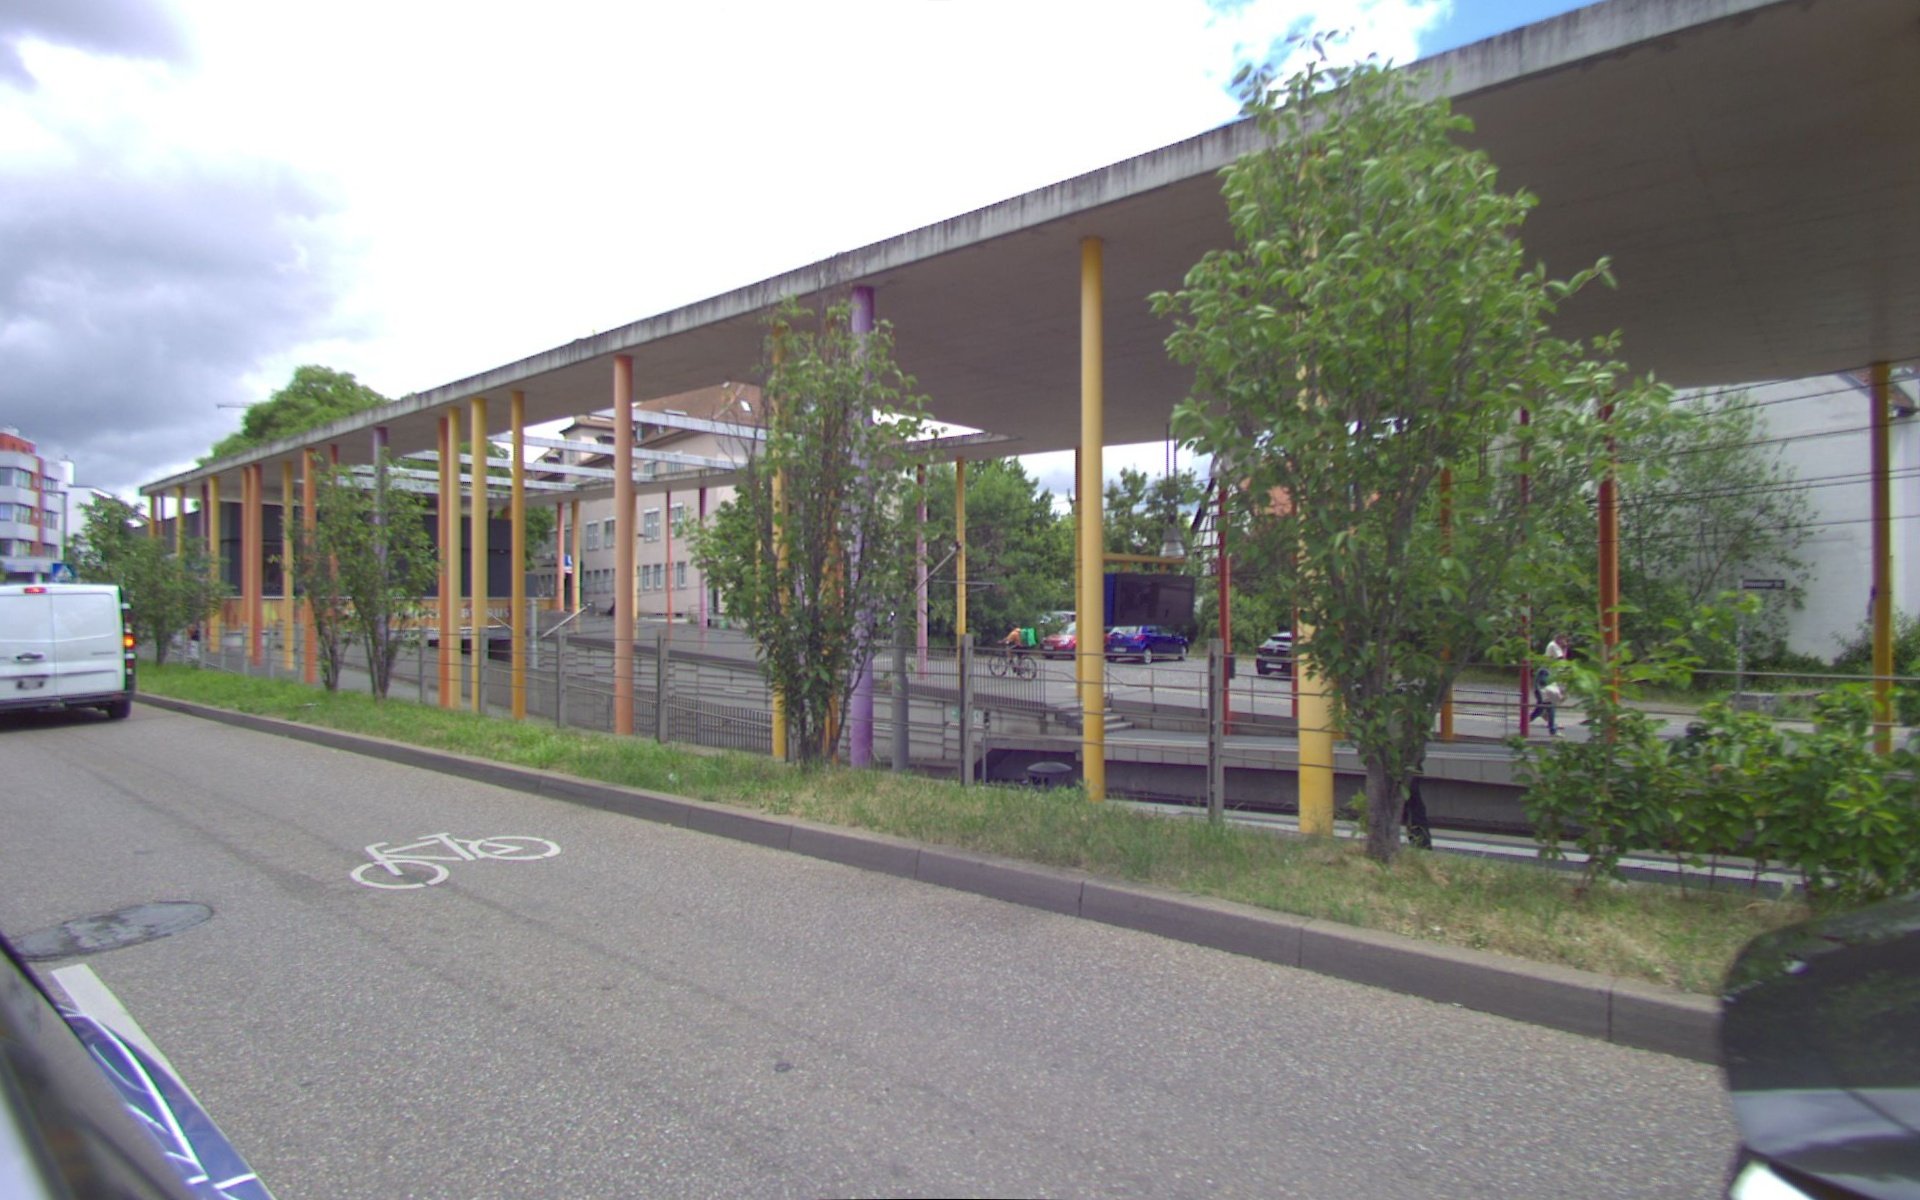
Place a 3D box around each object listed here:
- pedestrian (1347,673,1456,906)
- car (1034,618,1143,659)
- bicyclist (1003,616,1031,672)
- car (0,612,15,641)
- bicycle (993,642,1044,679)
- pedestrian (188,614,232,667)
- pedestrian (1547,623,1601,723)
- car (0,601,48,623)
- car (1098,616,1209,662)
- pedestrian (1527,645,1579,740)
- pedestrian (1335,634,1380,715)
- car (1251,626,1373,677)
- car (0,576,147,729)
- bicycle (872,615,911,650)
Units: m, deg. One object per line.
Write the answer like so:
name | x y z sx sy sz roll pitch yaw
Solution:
pedestrian | 3.849 1.600 8.825 0.710 1.843 0.580 1 2 43
car | 4.911 1.424 38.524 3.933 1.347 1.731 -1 2 -34
bicyclist | 1.704 1.304 30.257 0.681 1.605 0.478 1 2 44
car | -57.721 1.562 60.288 1.776 1.592 4.008 -1 2 -39
bicycle | 1.731 1.791 30.235 1.613 0.970 0.478 1 2 44
pedestrian | -23.552 1.257 31.775 0.814 1.577 0.918 1 2 39
pedestrian | 12.186 1.418 20.084 0.800 1.897 0.635 1 2 41
car | -77.915 0.936 83.348 1.819 1.675 3.997 0 1 3
car | 7.001 1.364 36.496 3.933 1.411 1.574 -1 2 -34
pedestrian | 11.131 1.723 18.992 0.730 1.674 0.635 1 2 41
pedestrian | 8.634 1.604 21.995 0.730 1.674 0.635 1 2 41
car | 11.083 1.584 31.822 3.933 1.347 1.574 -1 2 -34
car | -13.742 0.686 14.862 5.063 1.931 1.983 -1 0 42
bicycle | -2.731 1.265 40.237 0.524 1.278 2.065 -1 2 -36
